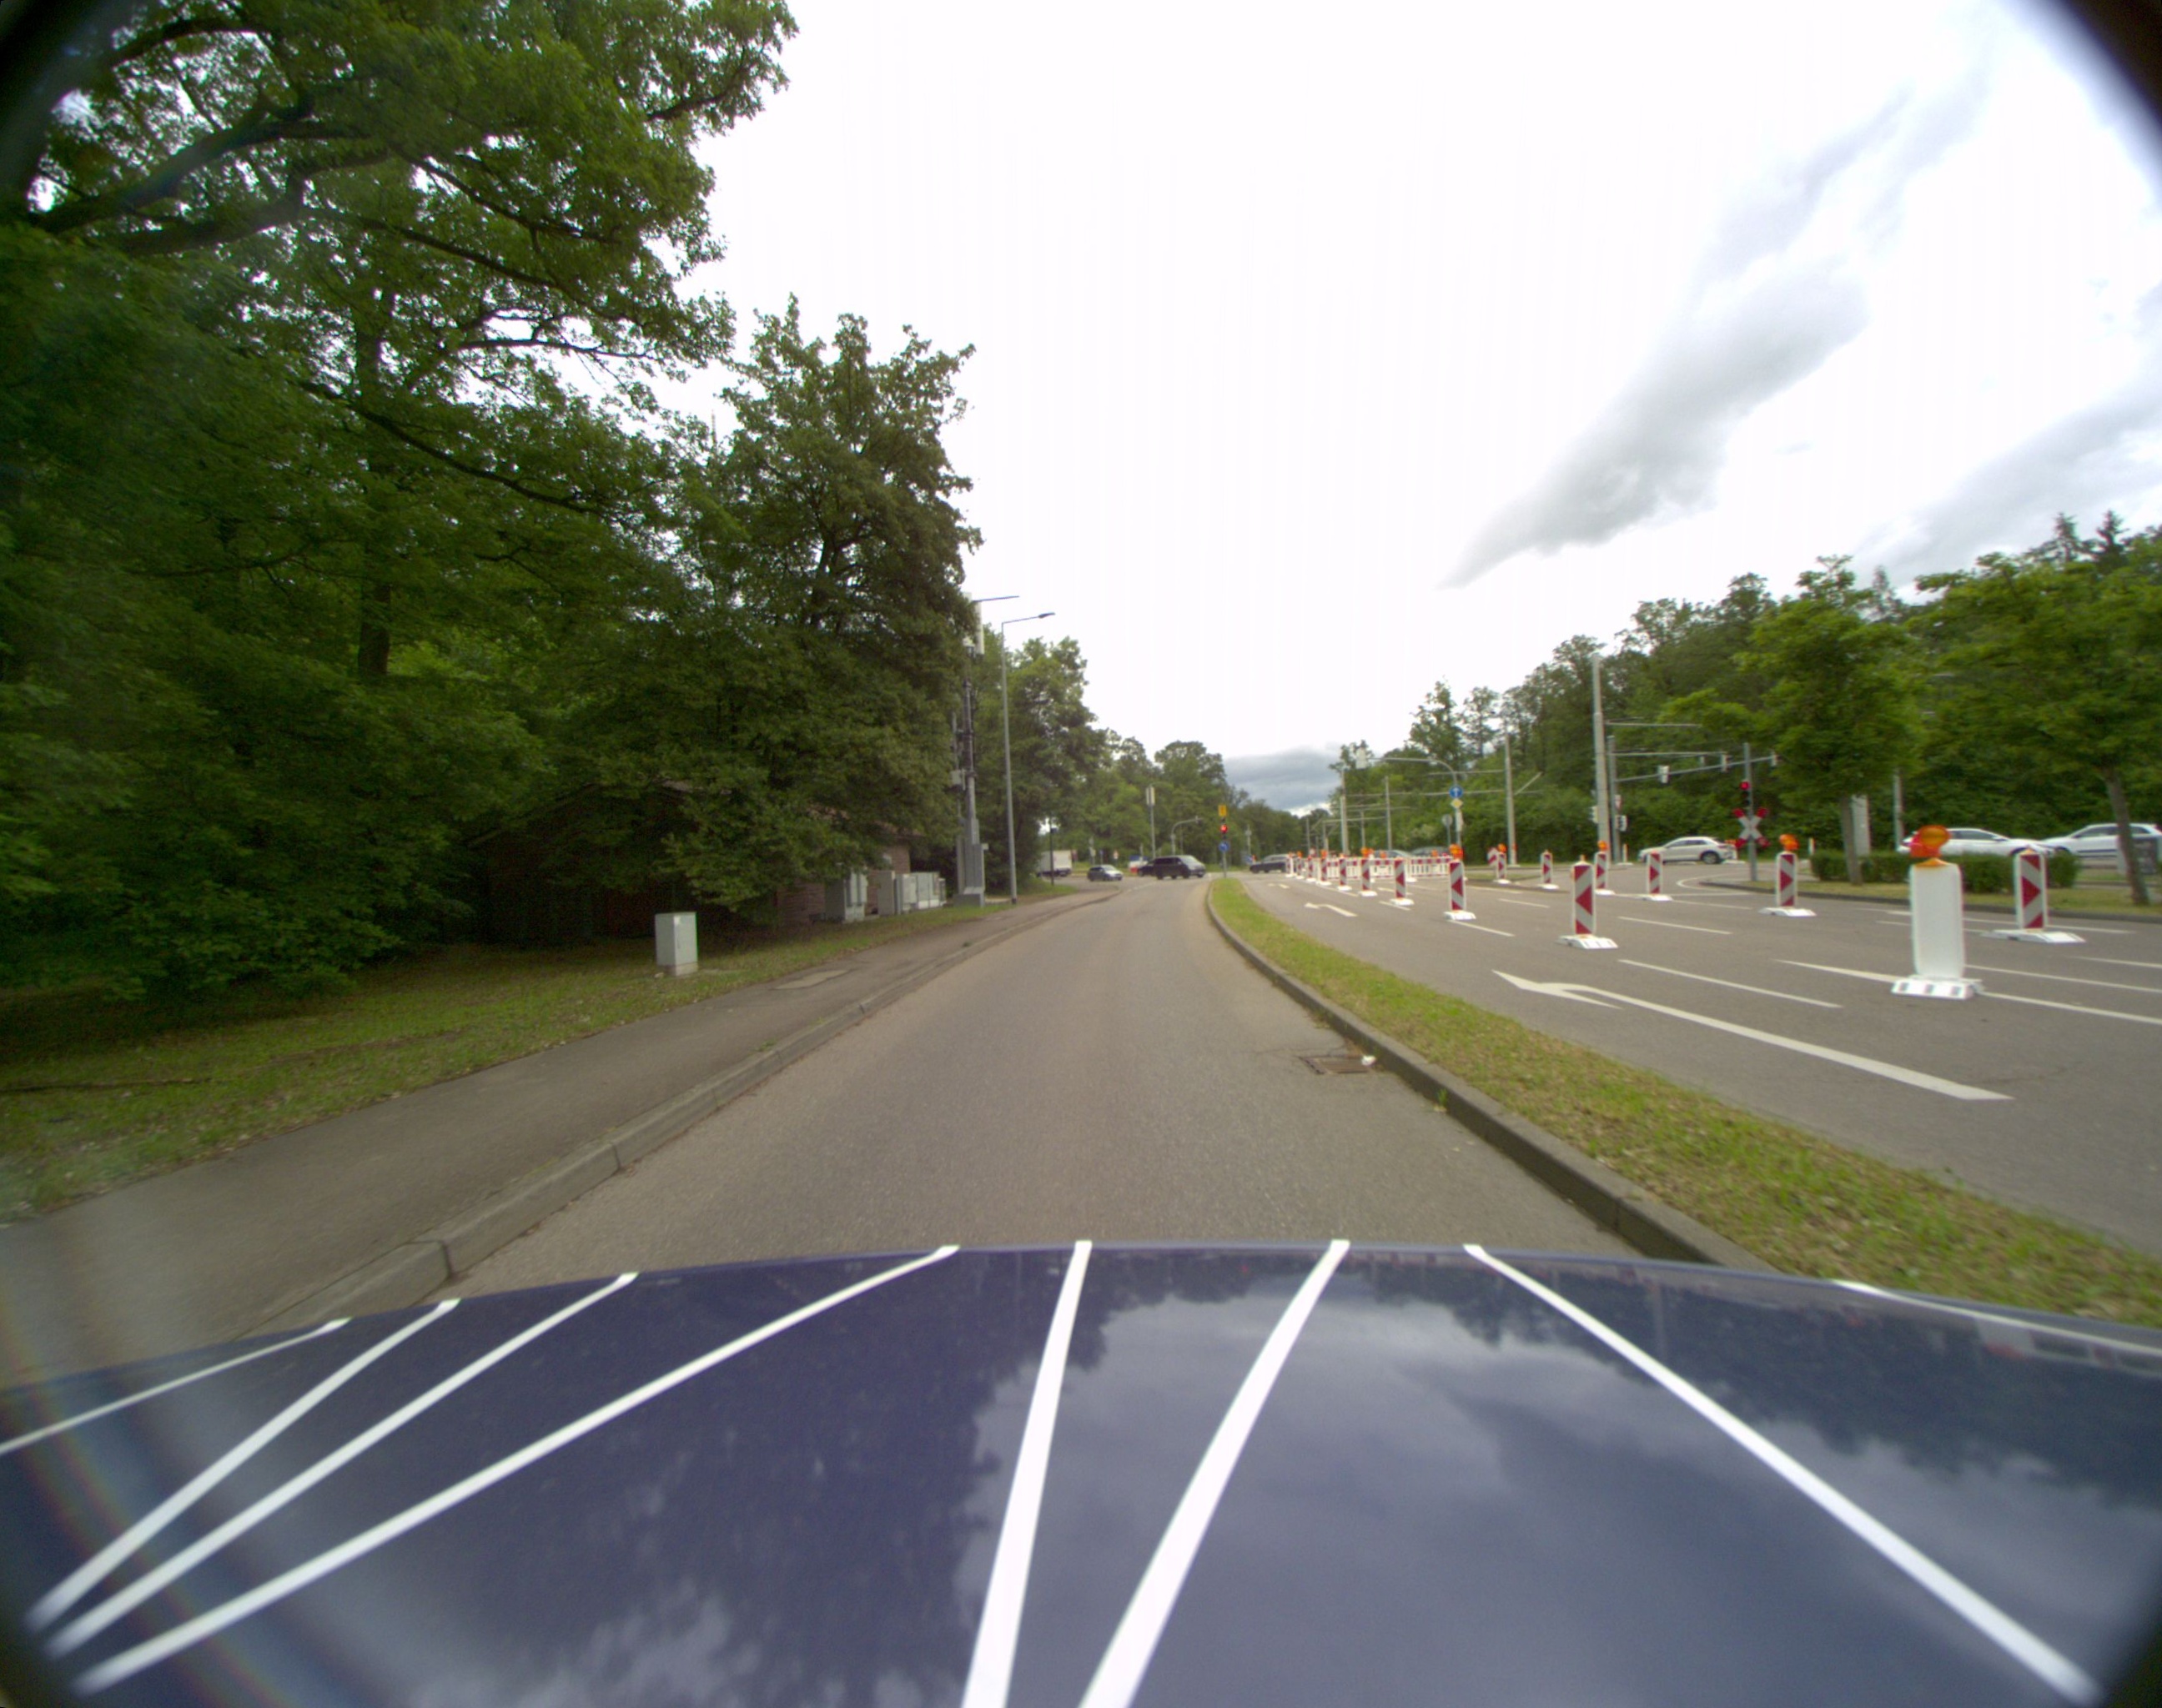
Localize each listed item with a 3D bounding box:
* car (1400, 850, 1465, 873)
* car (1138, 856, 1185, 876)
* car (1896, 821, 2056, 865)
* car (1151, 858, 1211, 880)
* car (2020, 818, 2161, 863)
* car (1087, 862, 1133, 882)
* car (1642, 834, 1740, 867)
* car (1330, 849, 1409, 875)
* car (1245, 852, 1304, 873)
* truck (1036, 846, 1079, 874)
[{"bbox_3d":[25.222,0.565,54.668,1.666,1.330,3.832,-8,3,-38],"label":"car"},{"bbox_3d":[7.926,1.210,75.282,2.003,1.718,4.462,-3,0,-37],"label":"car"},{"bbox_3d":[35.336,-0.406,30.179,1.772,1.479,3.990,-4,0,-42],"label":"car"},{"bbox_3d":[8.272,1.261,63.297,1.961,1.578,4.897,-3,0,-40],"label":"car"},{"bbox_3d":[43.467,-0.552,32.701,1.862,1.712,3.783,-4,0,-40],"label":"car"},{"bbox_3d":[2.701,1.685,70.639,1.902,1.631,3.973,-4,0,-43],"label":"car"},{"bbox_3d":[34.744,-0.185,43.326,1.862,1.642,4.038,-4,0,-41],"label":"car"},{"bbox_3d":[18.632,0.529,49.203,1.800,1.428,4.379,-3,0,-40],"label":"car"},{"bbox_3d":[16.437,0.723,64.646,4.439,1.586,1.884,-3,0,44],"label":"car"},{"bbox_3d":[-2.922,0.779,91.896,2.751,3.192,6.661,-3,0,-24],"label":"truck"}]
